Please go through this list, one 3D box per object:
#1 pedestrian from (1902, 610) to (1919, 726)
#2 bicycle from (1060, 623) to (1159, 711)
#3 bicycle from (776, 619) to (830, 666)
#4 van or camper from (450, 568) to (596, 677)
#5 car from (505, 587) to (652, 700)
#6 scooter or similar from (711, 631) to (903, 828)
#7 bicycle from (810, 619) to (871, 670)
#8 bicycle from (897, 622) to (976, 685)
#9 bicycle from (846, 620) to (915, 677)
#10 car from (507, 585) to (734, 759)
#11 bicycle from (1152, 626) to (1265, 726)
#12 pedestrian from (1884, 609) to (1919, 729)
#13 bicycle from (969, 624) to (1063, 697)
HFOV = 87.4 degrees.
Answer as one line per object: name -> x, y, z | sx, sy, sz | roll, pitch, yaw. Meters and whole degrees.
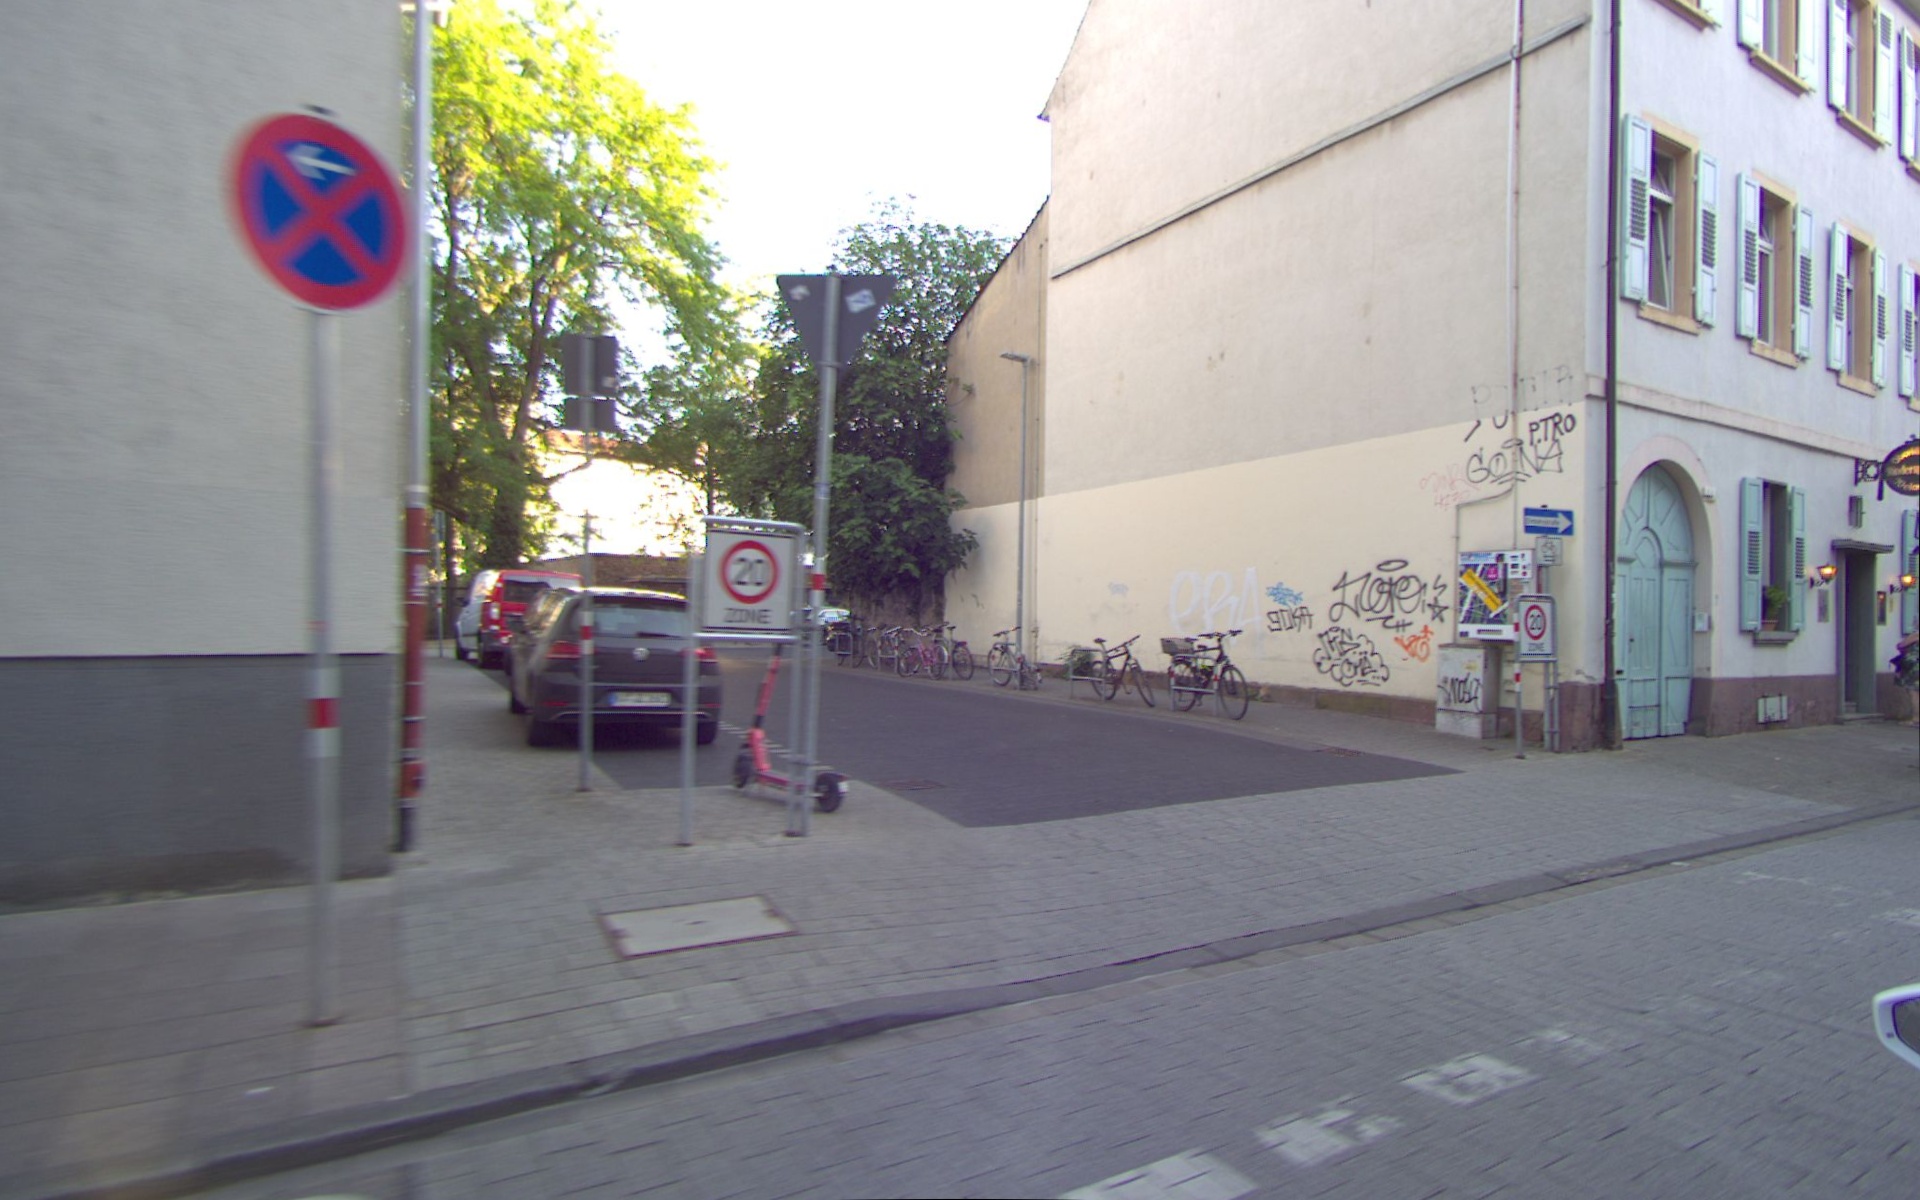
pedestrian -> 14.825, 1.042, 15.411 | 0.464, 1.773, 0.404 | 1, -1, -29
bicycle -> 2.274, 1.000, 15.555 | 0.618, 1.233, 1.923 | 1, -1, -22
bicycle -> -4.159, 1.099, 26.505 | 0.621, 1.171, 1.914 | 2, -1, -34
van or camper -> -9.027, 0.427, 20.500 | 1.916, 1.934, 4.667 | 4, -2, -33
car -> -6.027, 0.611, 15.578 | 1.706, 1.459, 4.240 | 4, -1, -26
scooter or similar -> -1.136, 0.885, 7.324 | 1.343, 1.217, 0.531 | 4, 1, 36
bicycle -> -2.908, 1.053, 24.296 | 0.621, 1.171, 1.914 | 2, -1, -34
bicycle -> -0.496, 1.041, 20.077 | 0.621, 1.171, 1.914 | 2, -1, -34
bicycle -> -1.760, 1.043, 22.044 | 0.621, 1.171, 1.914 | 2, -1, -34
car -> -3.730, 0.625, 10.587 | 1.706, 1.459, 3.943 | 1, -1, -27
bicycle -> 3.355, 0.996, 13.762 | 0.617, 1.233, 1.926 | 1, -1, -16
pedestrian -> 14.324, 1.027, 15.176 | 0.464, 1.773, 0.404 | 1, -1, -29
bicycle -> 0.960, 1.036, 17.763 | 0.621, 1.171, 1.914 | 2, -1, -34
